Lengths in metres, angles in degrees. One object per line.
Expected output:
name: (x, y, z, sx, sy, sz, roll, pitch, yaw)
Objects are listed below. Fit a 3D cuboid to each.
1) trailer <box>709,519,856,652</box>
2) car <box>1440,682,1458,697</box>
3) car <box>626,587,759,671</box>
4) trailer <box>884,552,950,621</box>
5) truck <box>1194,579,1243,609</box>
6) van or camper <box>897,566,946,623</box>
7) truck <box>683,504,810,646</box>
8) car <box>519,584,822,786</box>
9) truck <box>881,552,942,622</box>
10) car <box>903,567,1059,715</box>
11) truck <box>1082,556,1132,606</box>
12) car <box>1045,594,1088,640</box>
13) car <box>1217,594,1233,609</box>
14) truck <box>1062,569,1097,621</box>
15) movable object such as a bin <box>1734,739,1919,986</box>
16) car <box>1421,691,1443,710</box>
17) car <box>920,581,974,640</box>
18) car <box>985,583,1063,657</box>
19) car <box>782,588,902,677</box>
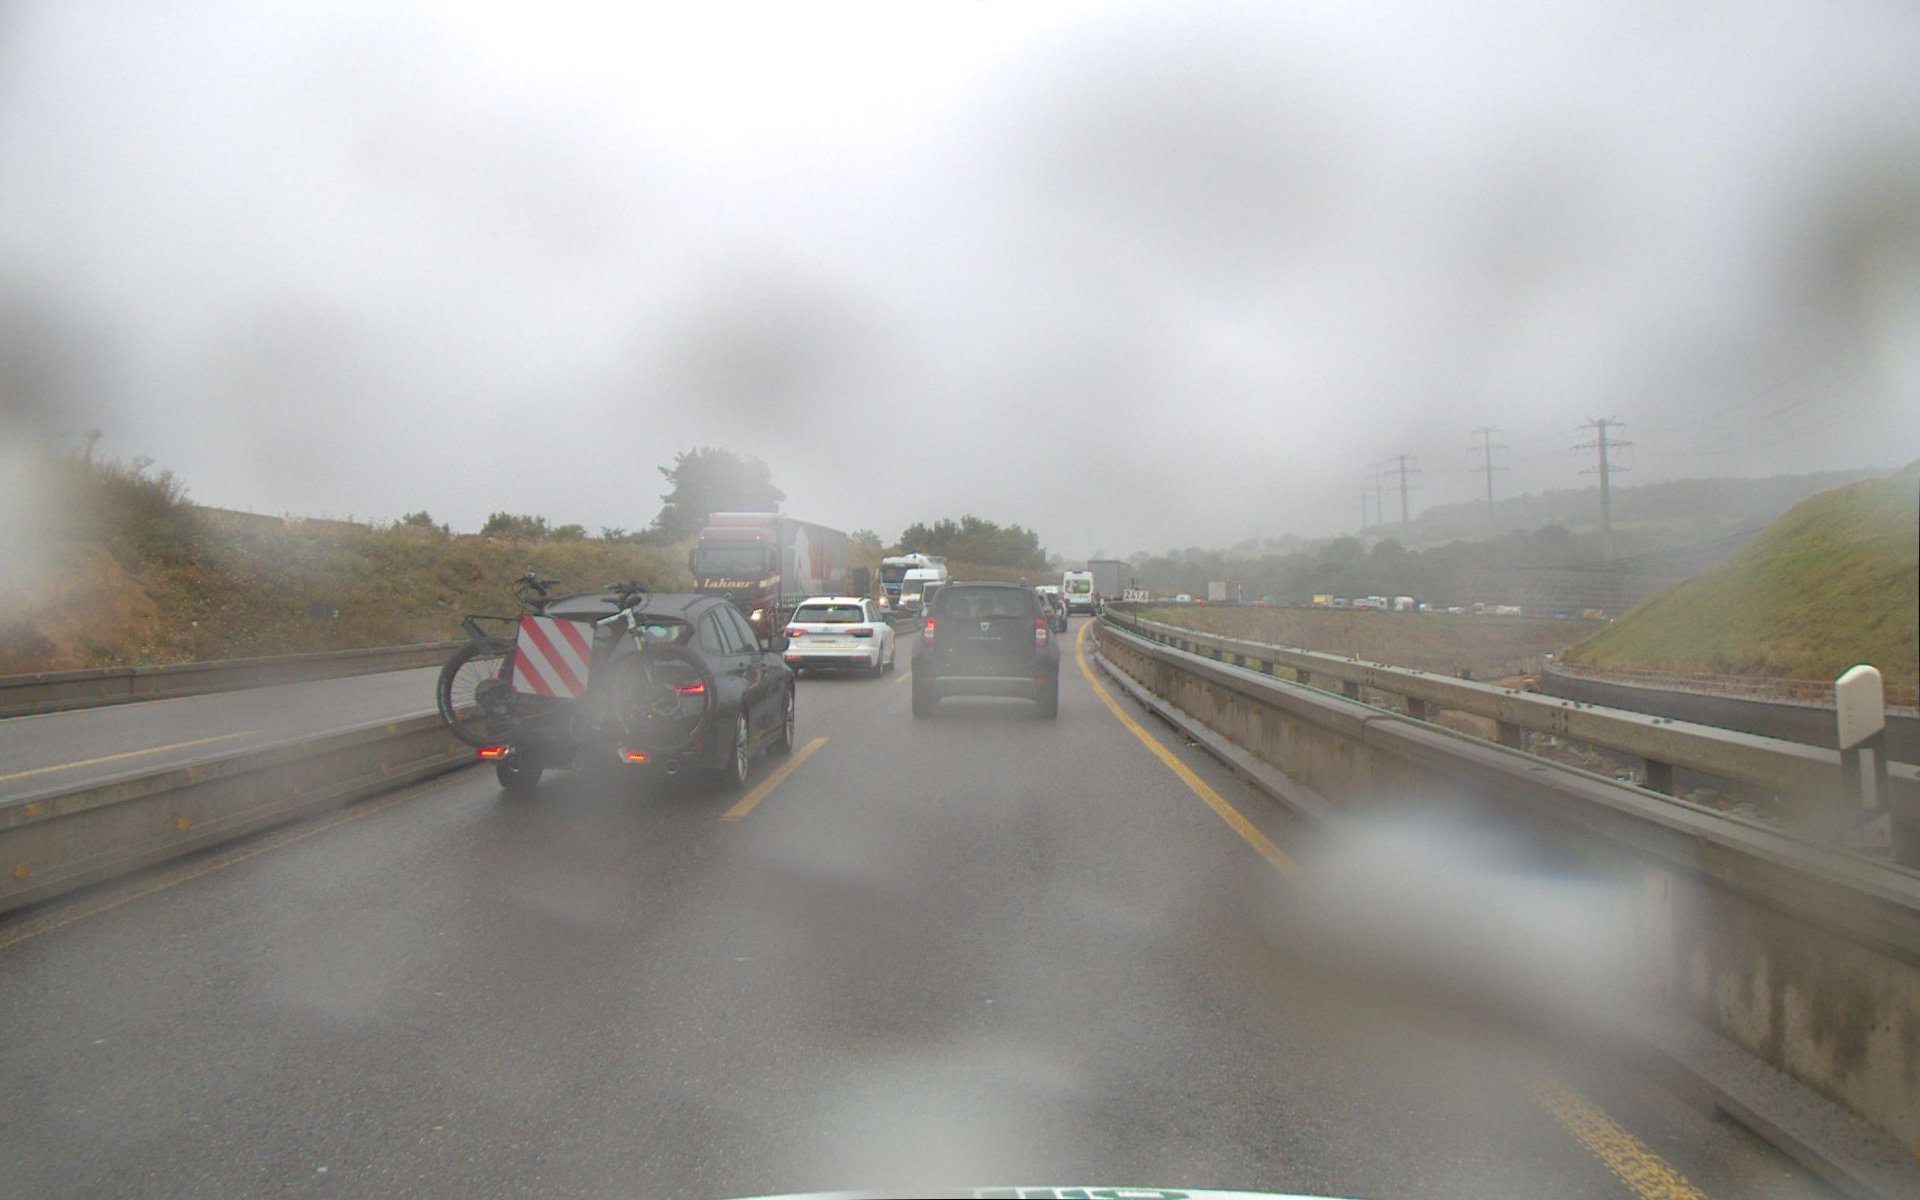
trailer: (-6.629, -0.599, 65.075, 2.932, 4.498, 15.711, -2, 1, 4)
car: (65.149, 11.920, 220.389, 1.951, 1.847, 4.003, 0, 0, 13)
car: (-5.218, 0.535, 32.826, 1.707, 1.529, 4.636, 1, 0, 2)
trailer: (-2.583, -0.782, 102.945, 3.187, 4.033, 11.541, 0, 0, 3)
truck: (38.179, -0.891, 243.735, 4.619, 4.222, 15.688, 1, 0, 19)
van or camper: (-1.817, -0.262, 80.462, 2.232, 2.659, 5.828, 1, 0, 0)
truck: (-7.202, -0.831, 56.868, 2.917, 4.486, 6.935, -2, 0, 4)
car: (-2.329, 0.644, 14.259, 1.790, 1.502, 3.777, 0, 0, 2)
truck: (-2.837, -0.750, 97.961, 3.164, 4.025, 5.883, 0, 0, 2)
car: (0.181, 0.470, 20.754, 1.768, 1.674, 3.774, 0, 0, -2)
truck: (11.799, -1.443, 132.179, 3.132, 3.827, 8.516, 1, 0, 10)
car: (4.013, 0.613, 61.875, 1.498, 1.669, 4.015, 1, 0, 5)
car: (36.071, 0.186, 225.021, 1.737, 1.949, 4.003, 1, 0, 14)
truck: (7.723, -0.343, 106.291, 2.104, 3.221, 6.463, 1, 0, 5)
movable object such as a bin: (27.224, 7.258, 47.954, 4.790, 5.770, 12.095, 2, -2, 5)
car: (57.977, 12.286, 203.204, 2.314, 2.049, 4.003, 1, 0, 11)
car: (-0.413, 0.351, 56.338, 1.625, 1.913, 4.021, 1, 0, 2)
car: (1.583, 0.468, 41.357, 1.829, 1.738, 4.001, 1, 0, 2)
car: (-2.096, 0.550, 30.530, 1.829, 1.486, 4.549, 1, 0, 1)
